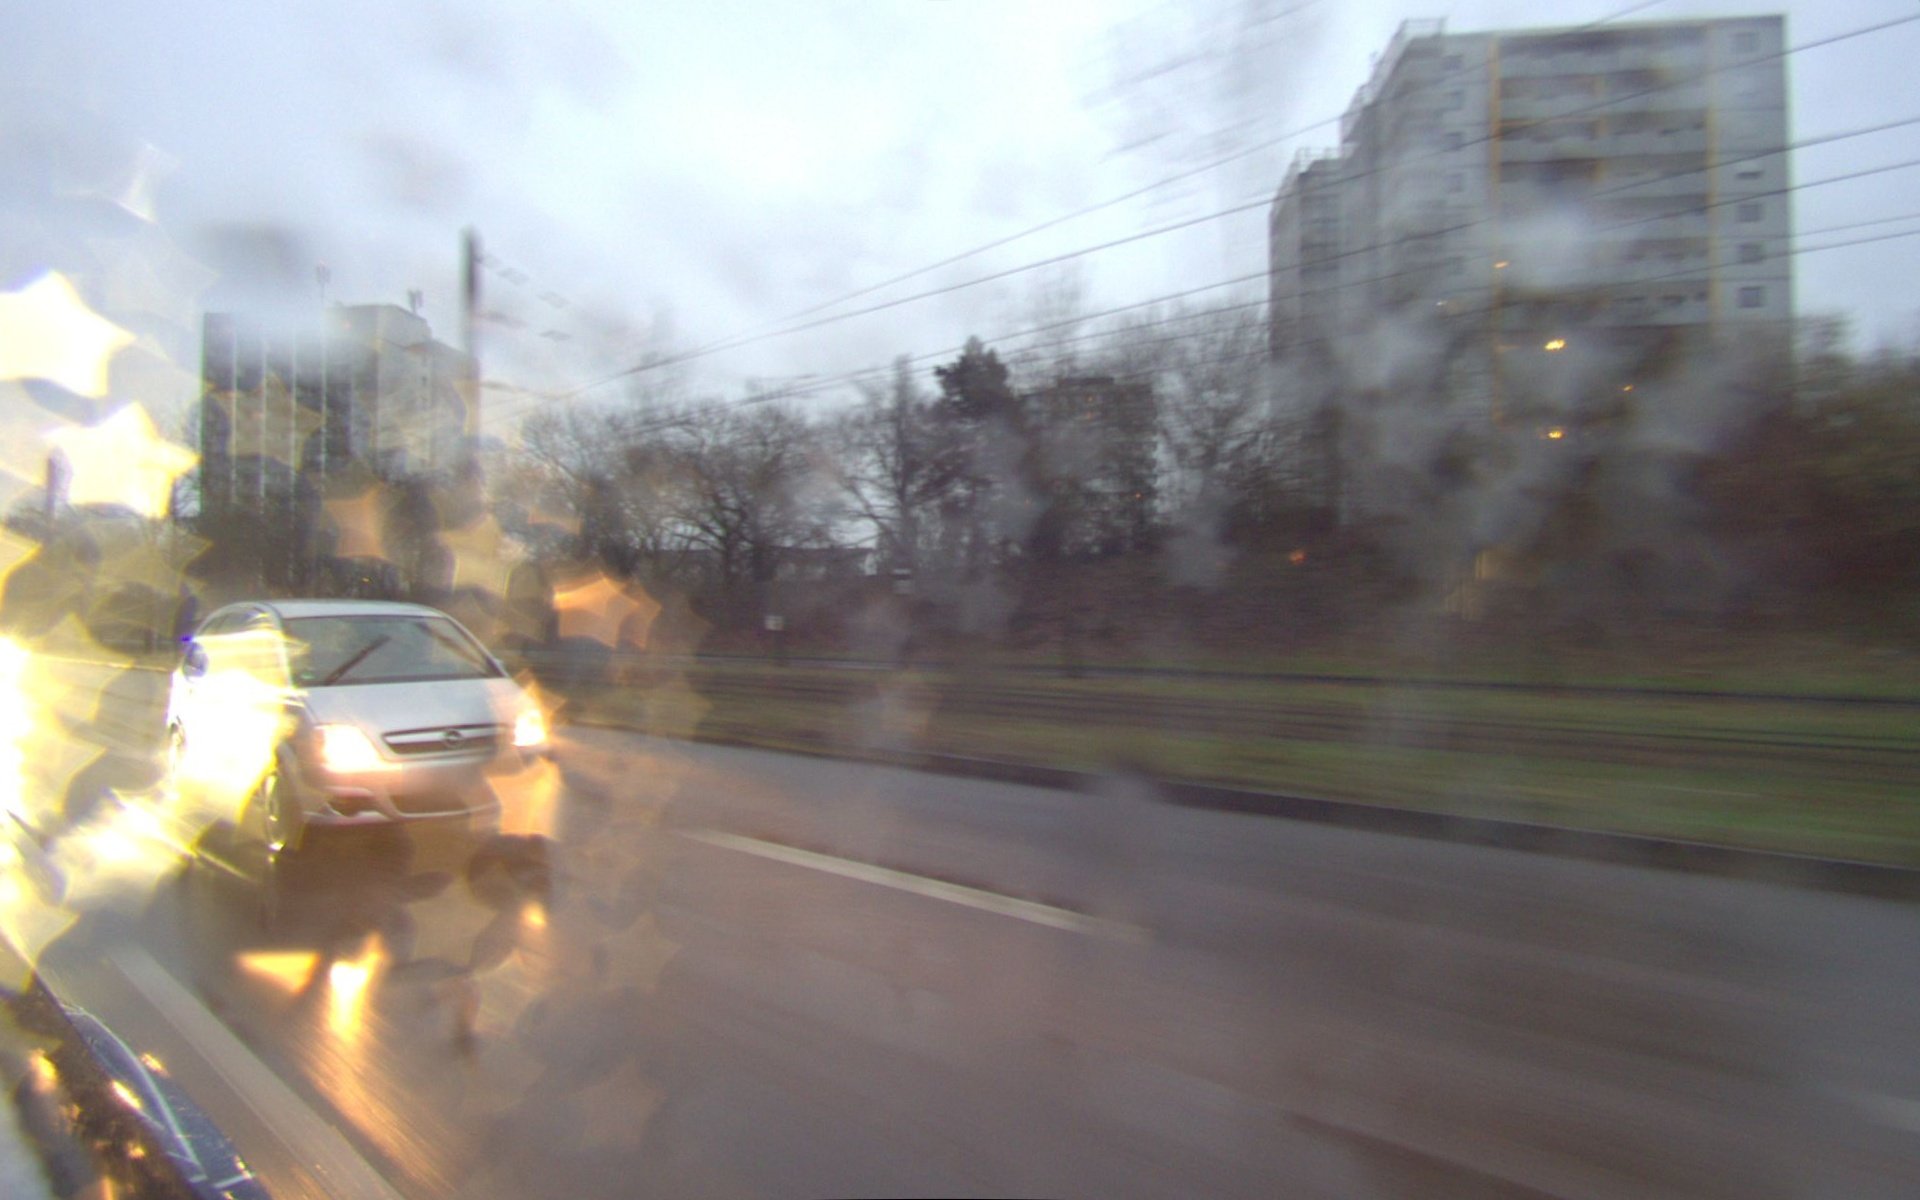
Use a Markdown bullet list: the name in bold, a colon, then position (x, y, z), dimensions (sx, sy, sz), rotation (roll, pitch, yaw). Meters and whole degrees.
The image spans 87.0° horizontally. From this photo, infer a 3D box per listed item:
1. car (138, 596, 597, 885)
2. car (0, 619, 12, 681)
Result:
- **car**: position (-4.537, 0.798, 7.459), dimensions (4.188, 1.551, 1.672), rotation (-2, -1, 41)
- **car**: position (-26.757, 1.306, 26.759), dimensions (4.120, 1.612, 1.928), rotation (-2, -2, 39)
